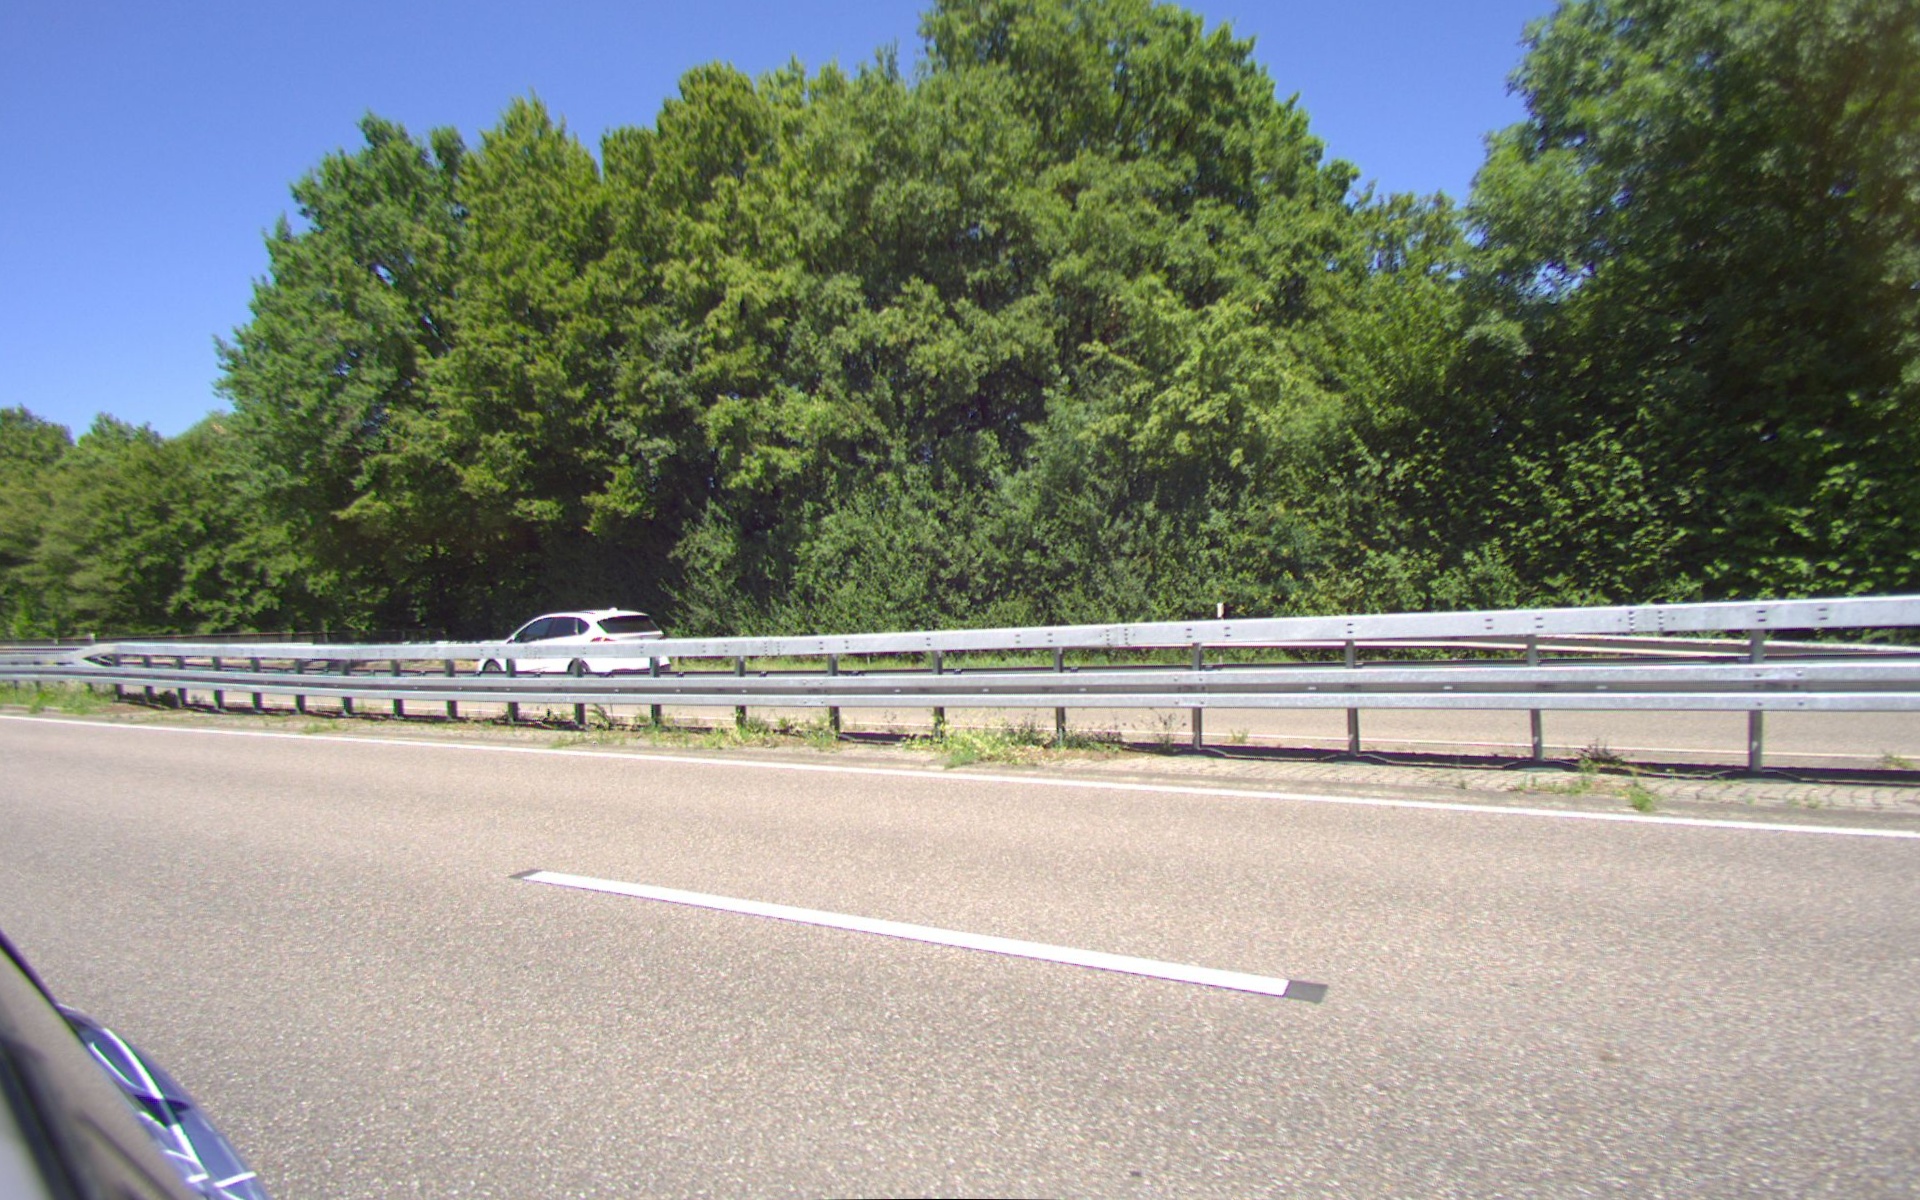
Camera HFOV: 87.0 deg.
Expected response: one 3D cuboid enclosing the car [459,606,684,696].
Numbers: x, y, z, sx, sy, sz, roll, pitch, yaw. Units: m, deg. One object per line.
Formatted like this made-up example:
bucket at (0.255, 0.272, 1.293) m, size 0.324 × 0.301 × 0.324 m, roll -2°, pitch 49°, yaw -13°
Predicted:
car at (-7.695, 1.001, 19.939) m, size 4.395 × 1.584 × 1.744 m, roll -2°, pitch -1°, yaw 30°
